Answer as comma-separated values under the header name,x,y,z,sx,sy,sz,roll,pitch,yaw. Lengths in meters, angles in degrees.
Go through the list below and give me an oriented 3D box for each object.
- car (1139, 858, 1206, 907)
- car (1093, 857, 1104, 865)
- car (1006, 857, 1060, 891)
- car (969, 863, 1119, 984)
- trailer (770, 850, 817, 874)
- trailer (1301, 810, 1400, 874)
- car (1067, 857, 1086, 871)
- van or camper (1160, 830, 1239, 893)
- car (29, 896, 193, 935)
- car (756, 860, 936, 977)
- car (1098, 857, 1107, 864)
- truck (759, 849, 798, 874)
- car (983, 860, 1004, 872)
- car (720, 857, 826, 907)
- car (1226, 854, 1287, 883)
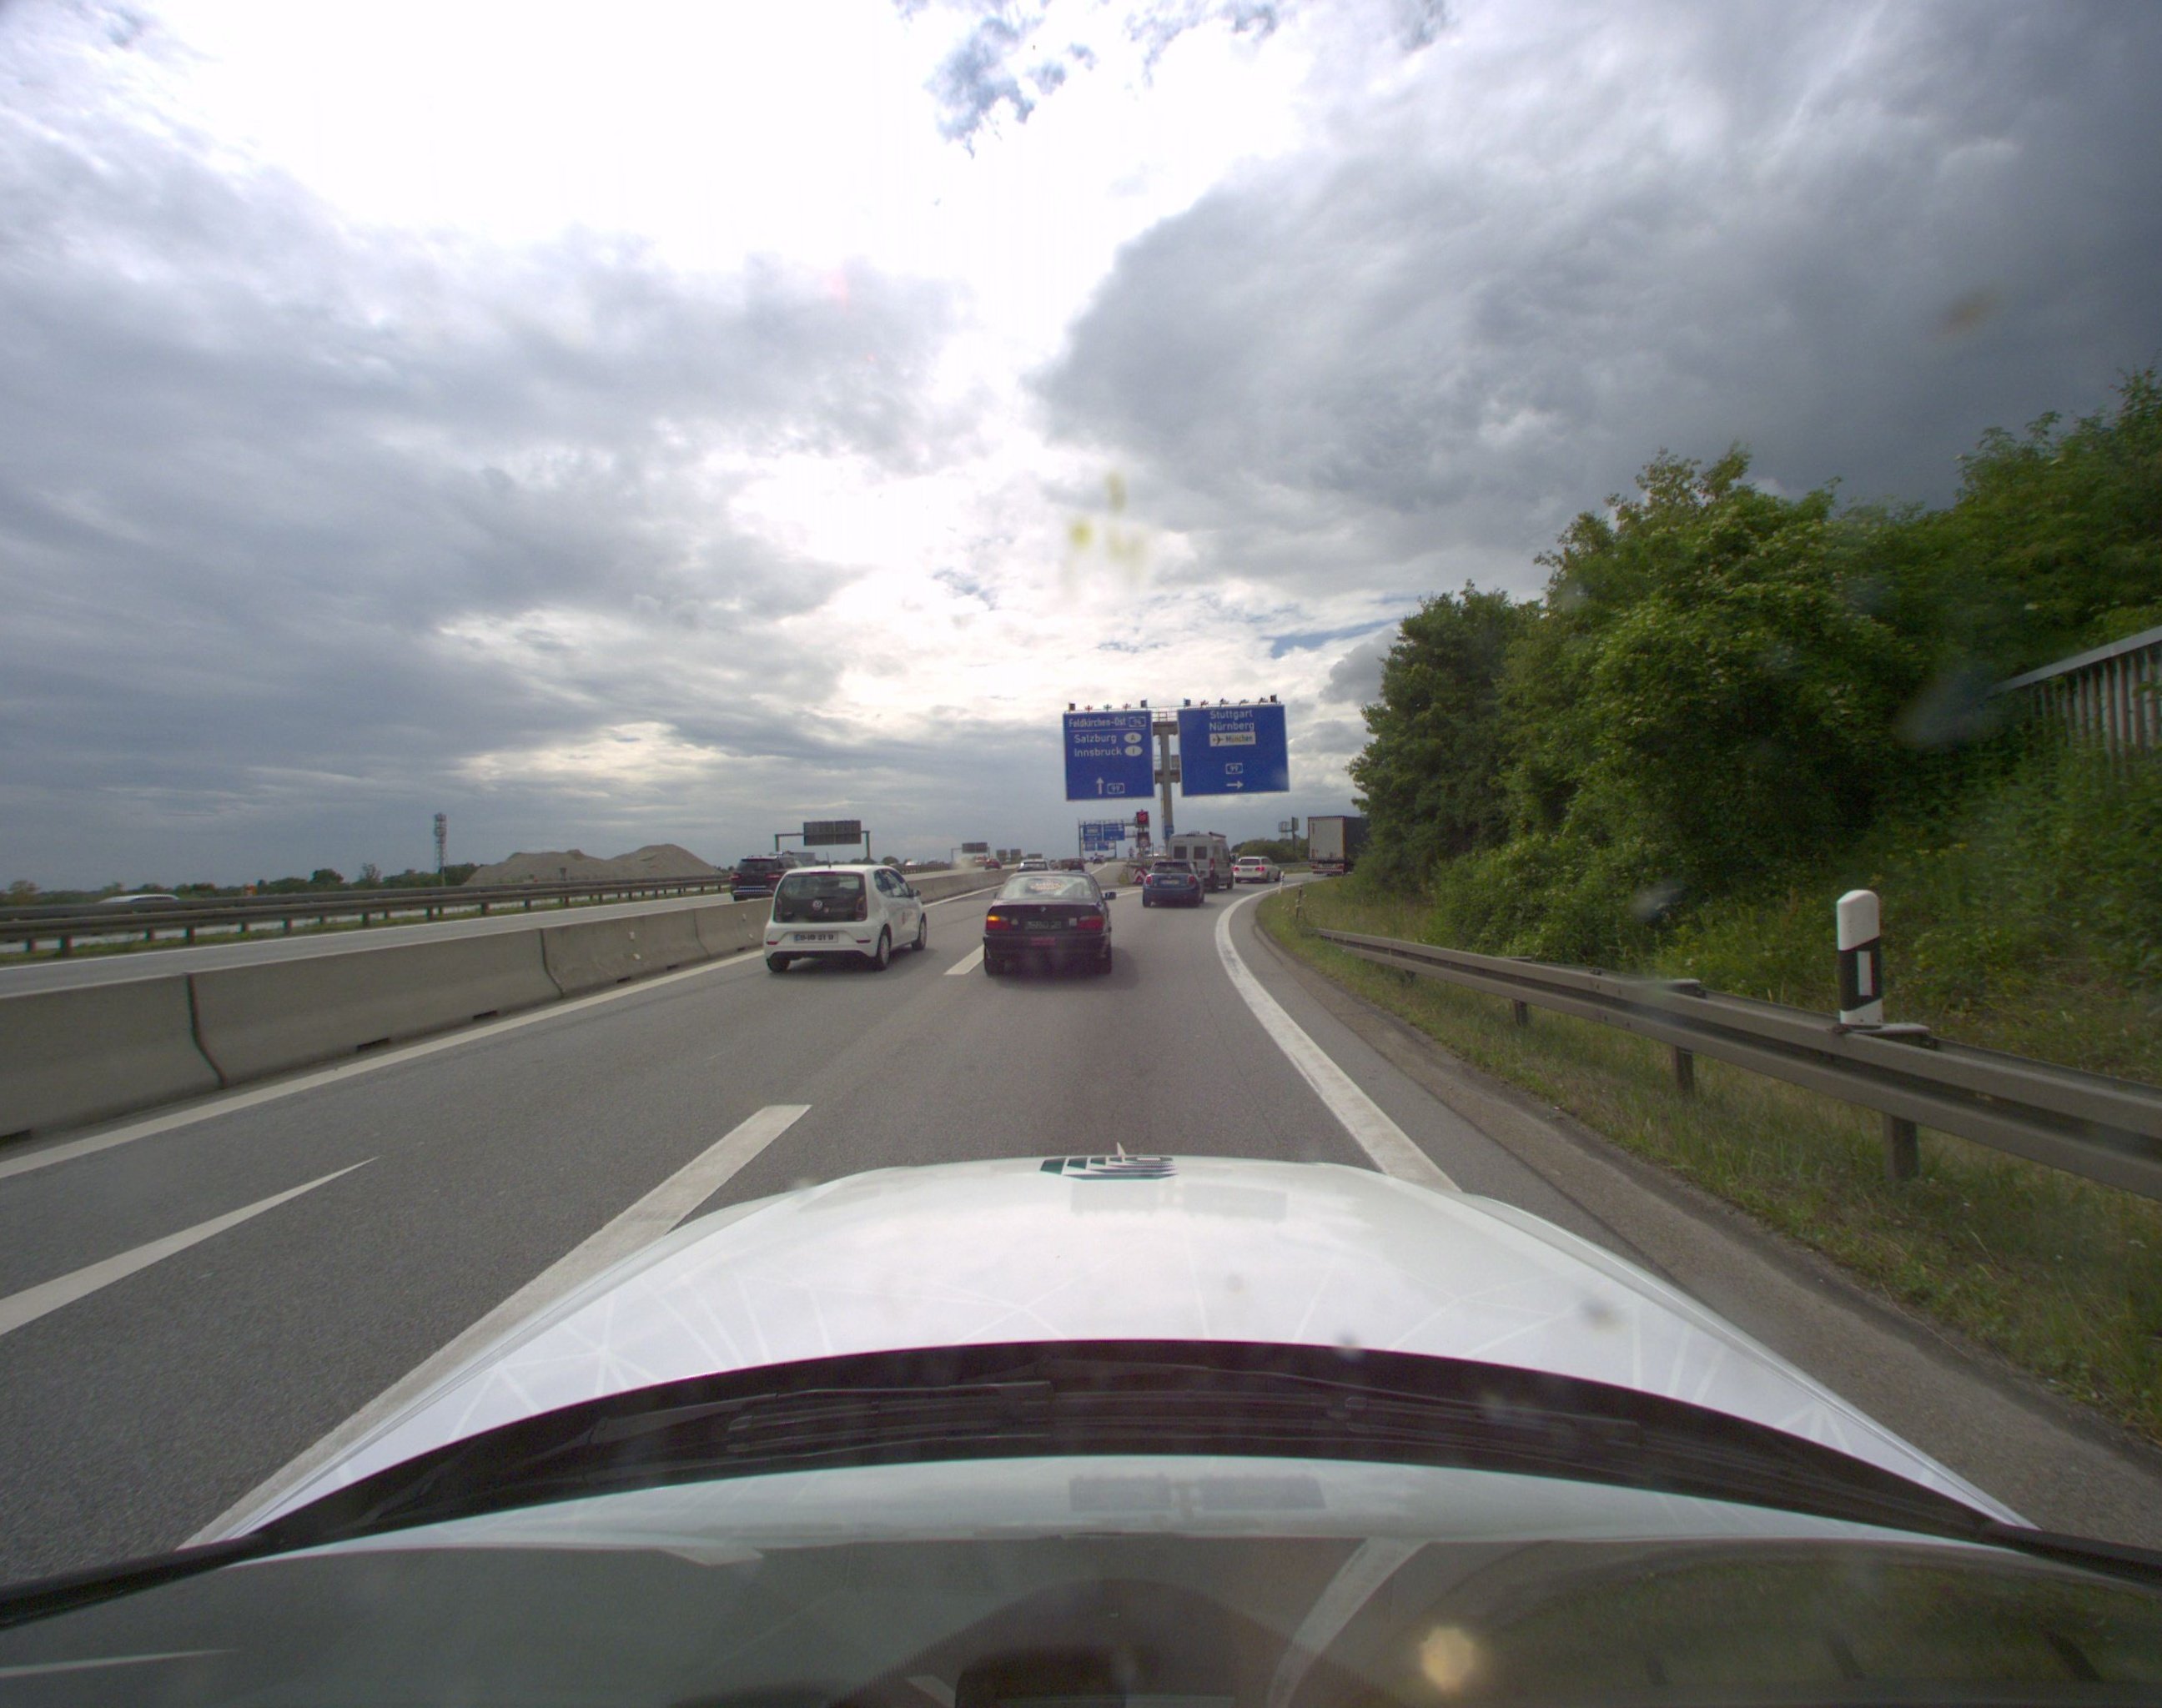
name,x,y,z,sx,sy,sz,roll,pitch,yaw
car,2.967,0.850,25.837,1.718,1.419,3.678,-1,0,12
car,3.205,1.288,150.922,1.795,1.424,4.003,-1,0,3
car,-2.215,0.926,38.956,1.984,1.468,4.005,-1,0,5
car,-0.369,0.857,11.865,1.775,1.378,4.139,-1,0,2
trailer,-41.462,1.102,117.772,3.186,3.269,9.824,-1,0,1
trailer,20.009,-0.787,59.644,3.298,4.193,13.115,-1,0,35
car,-0.446,1.016,85.110,1.859,1.424,4.002,-1,0,2
van or camper,5.482,0.316,36.864,2.274,2.568,6.191,-2,0,20
car,-38.013,2.384,32.098,1.682,1.192,4.002,-1,0,-1
car,-3.411,0.860,12.472,1.579,1.484,3.536,-1,0,2
car,4.643,1.459,173.368,1.795,1.424,4.003,-1,0,3
truck,-41.535,1.011,111.976,3.138,3.330,5.624,-1,0,1
car,-11.053,1.506,103.394,1.985,1.468,4.003,-1,0,3
car,-11.413,0.978,30.590,1.986,1.683,4.868,-1,0,2
car,10.087,0.791,46.512,2.185,1.501,4.816,-2,-1,27
